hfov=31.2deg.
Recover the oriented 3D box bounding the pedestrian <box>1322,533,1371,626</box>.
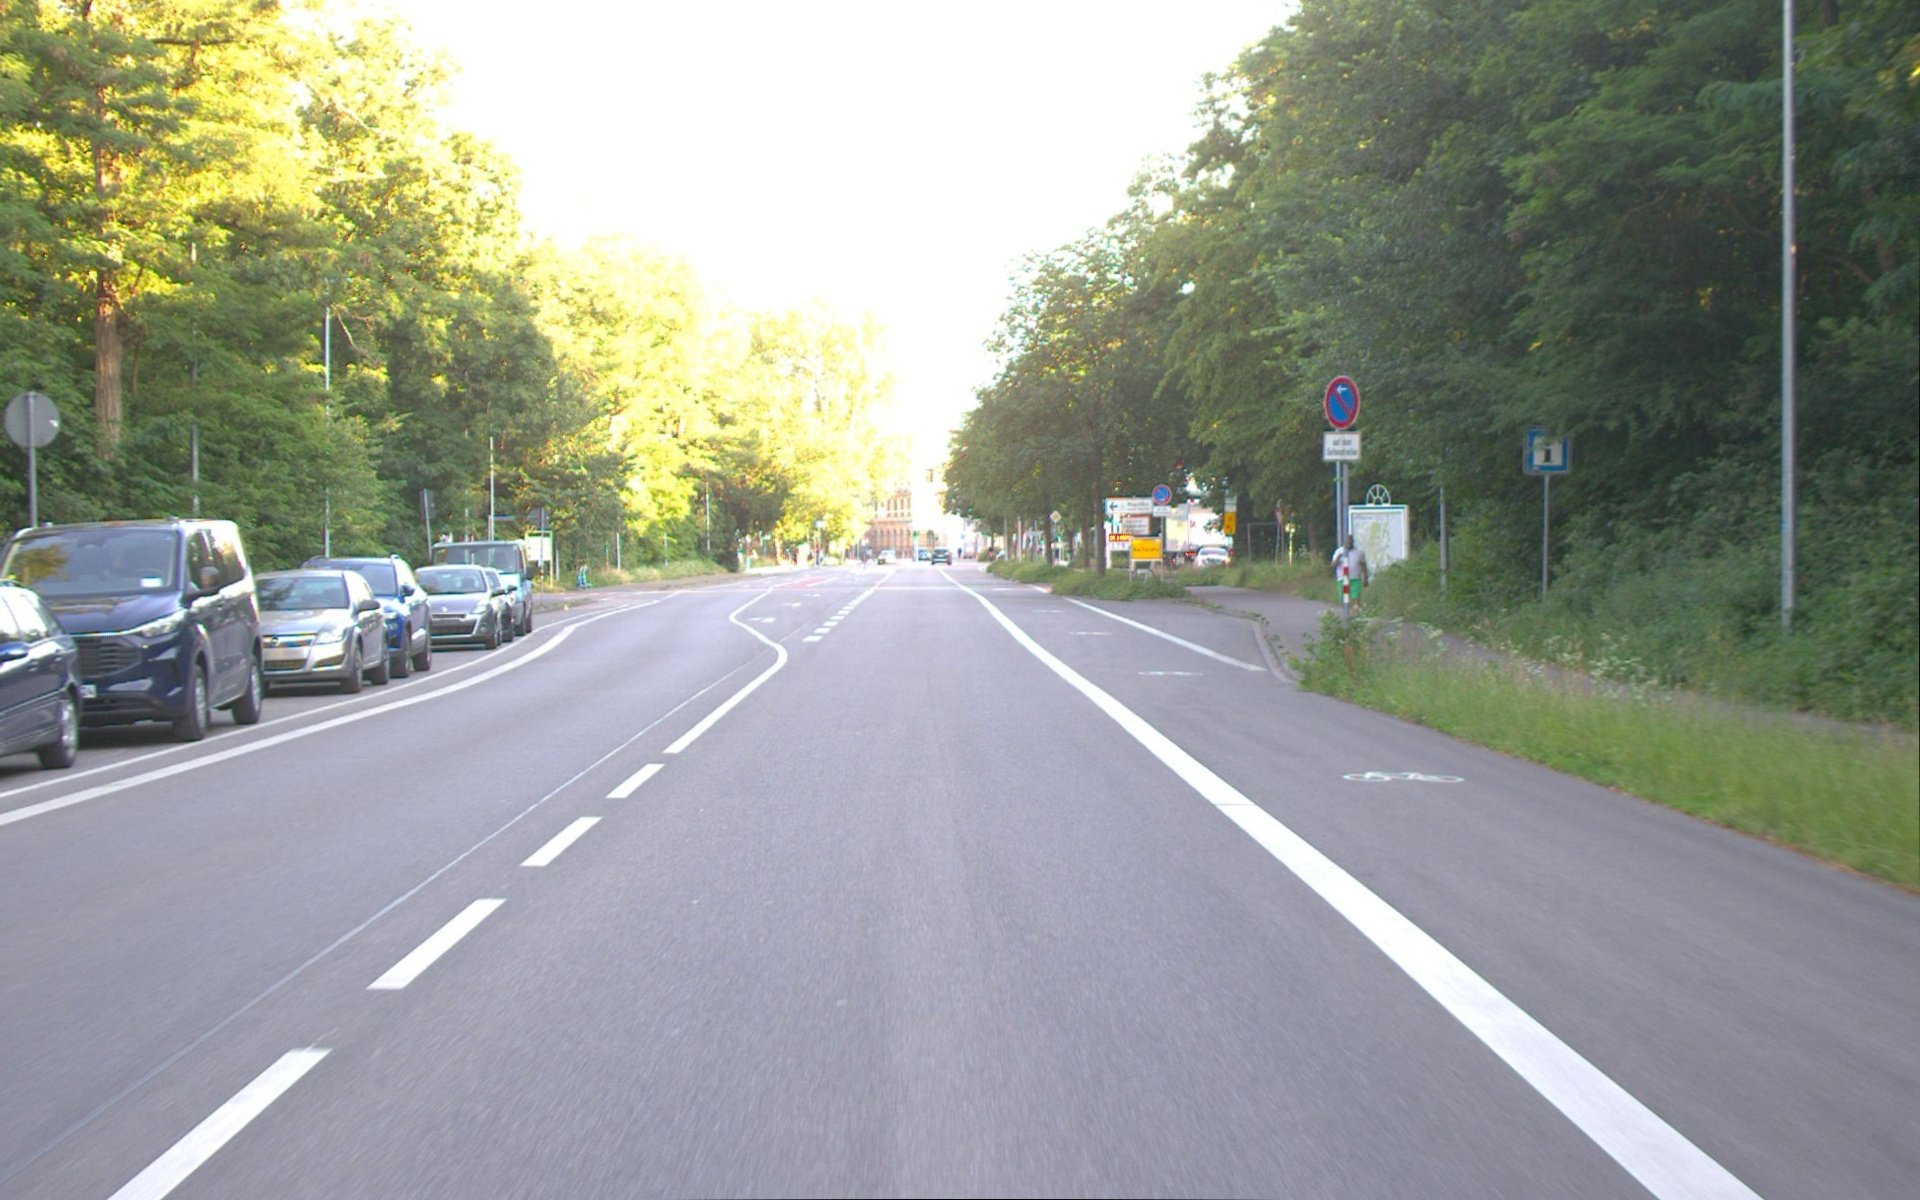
[{"bbox_3d":[7.268,-0.388,64.694,0.838,1.745,0.726,0,1,0],"label":"pedestrian"}]

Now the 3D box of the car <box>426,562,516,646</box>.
[{"bbox_3d":[-9.263,0.049,65.334,1.542,1.488,3.973,-2,1,-7],"label":"car"}]

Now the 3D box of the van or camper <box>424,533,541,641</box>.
[{"bbox_3d":[-9.894,-0.297,71.580,2.031,2.087,5.015,-2,1,-4],"label":"van or camper"}]

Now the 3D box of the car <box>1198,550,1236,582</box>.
[{"bbox_3d":[12.903,-1.695,172.579,1.770,1.578,4.818,1,1,3],"label":"car"}]

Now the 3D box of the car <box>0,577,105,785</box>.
[{"bbox_3d":[-7.603,0.603,25.006,1.669,1.428,4.447,-2,1,-1],"label":"car"}]

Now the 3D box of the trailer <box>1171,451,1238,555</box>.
[{"bbox_3d":[13.130,-5.179,185.151,3.020,5.443,7.934,0,1,0],"label":"trailer"}]

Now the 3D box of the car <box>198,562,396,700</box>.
[{"bbox_3d":[-7.916,0.329,41.363,1.668,1.496,4.247,-2,1,-2],"label":"car"}]

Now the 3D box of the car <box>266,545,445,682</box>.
[{"bbox_3d":[-8.145,0.142,46.670,1.745,1.706,4.523,-2,1,-2],"label":"car"}]

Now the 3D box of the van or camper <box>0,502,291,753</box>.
[{"bbox_3d":[-7.577,0.193,31.378,2.002,2.011,5.462,-3,1,-3],"label":"van or camper"}]

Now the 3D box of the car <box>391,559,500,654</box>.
[{"bbox_3d":[-8.943,0.087,60.011,1.616,1.529,4.041,-2,1,-6],"label":"car"}]
